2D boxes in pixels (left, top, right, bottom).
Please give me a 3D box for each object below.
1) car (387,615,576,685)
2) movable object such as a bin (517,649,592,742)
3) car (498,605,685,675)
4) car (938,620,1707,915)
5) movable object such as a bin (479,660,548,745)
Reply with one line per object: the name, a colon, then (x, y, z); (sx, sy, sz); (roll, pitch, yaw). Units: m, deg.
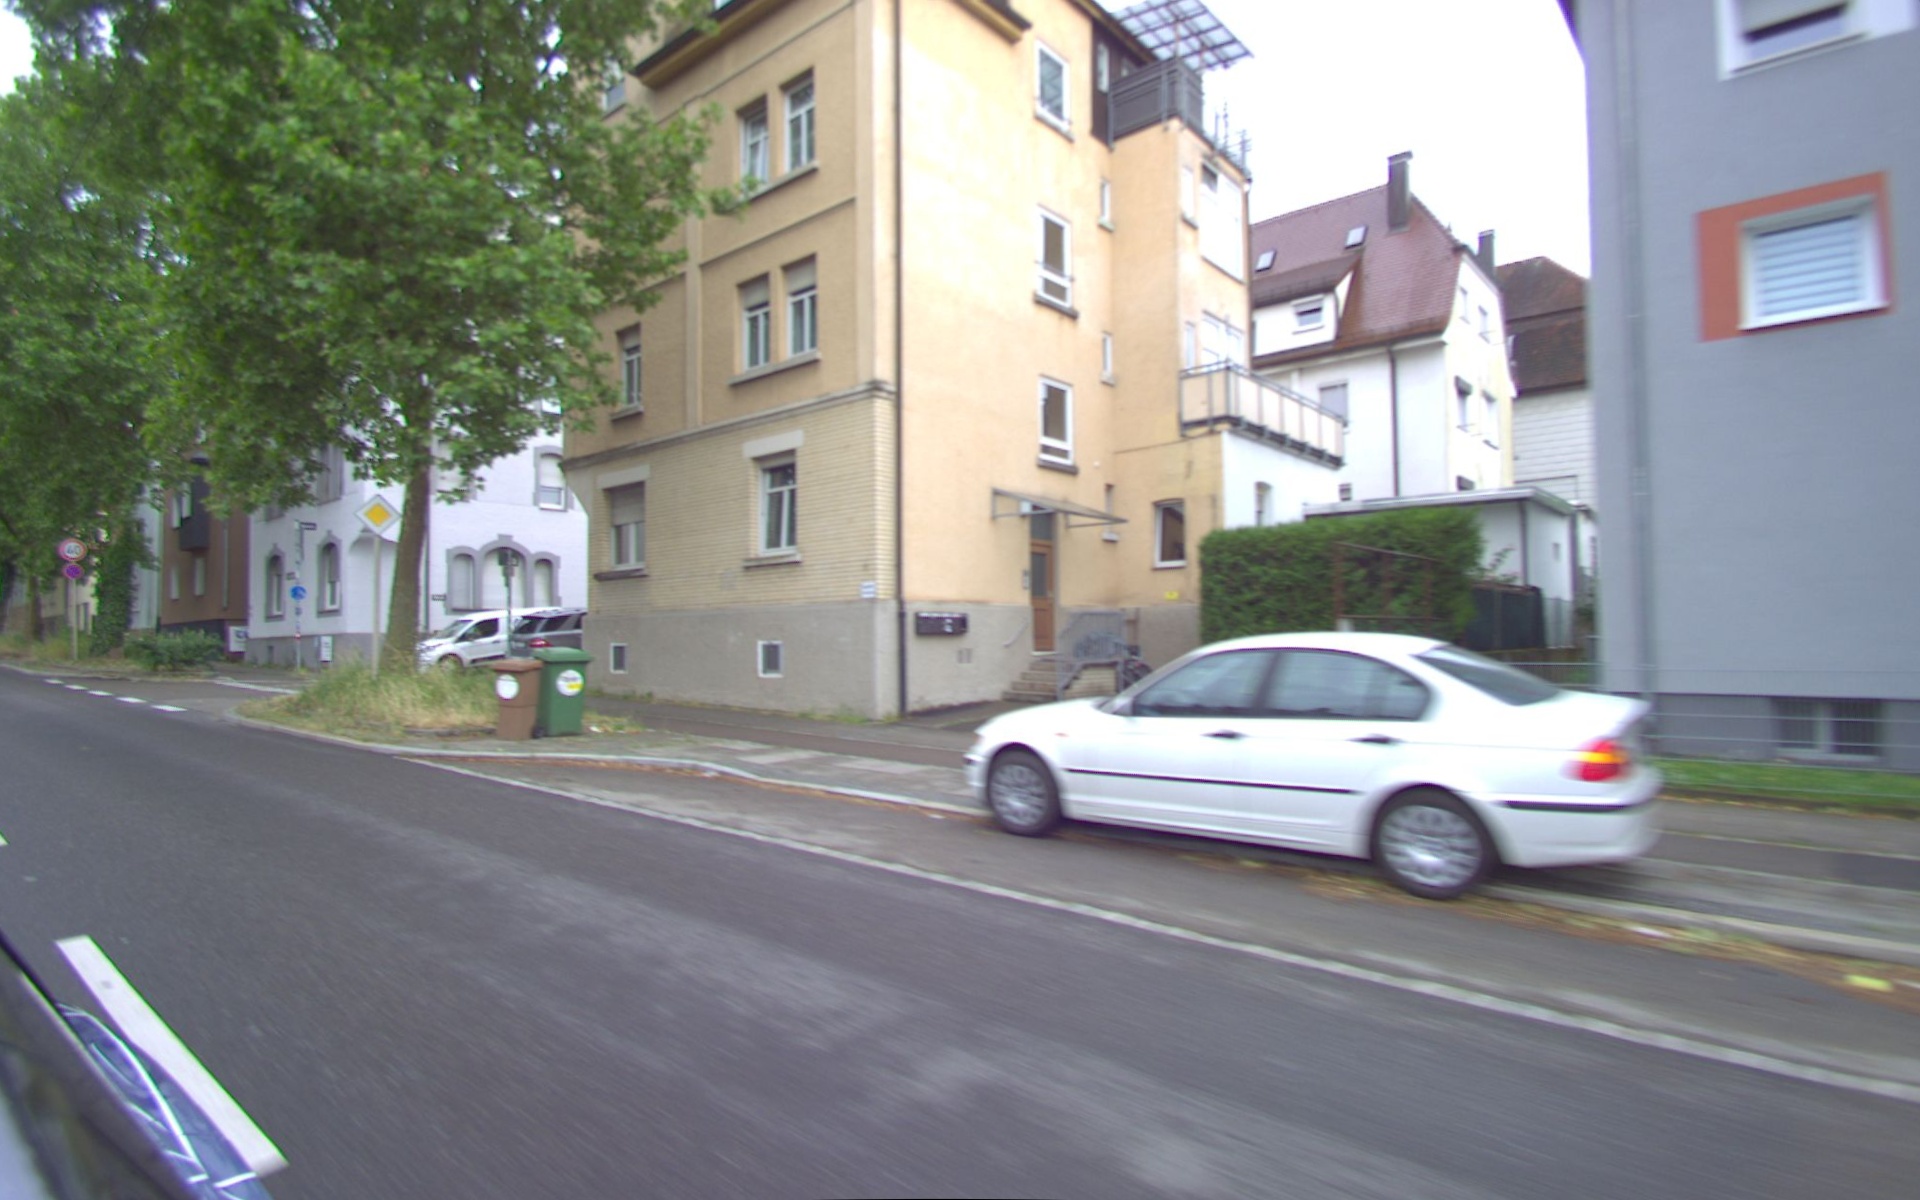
car: (-14.043, 1.393, 29.915); (2.019, 1.791, 4.623); (-1, 0, 40)
movable object such as a bin: (-4.910, 1.137, 12.258); (0.762, 1.065, 0.529); (-1, -3, 41)
car: (-9.438, 0.959, 26.150); (2.043, 1.623, 4.070); (0, 0, 42)
car: (2.149, 0.819, 6.761); (4.532, 1.336, 1.739); (-1, -1, 38)
movable object such as a bin: (-5.186, 1.176, 11.759); (0.581, 0.935, 0.507); (-1, -3, 41)
